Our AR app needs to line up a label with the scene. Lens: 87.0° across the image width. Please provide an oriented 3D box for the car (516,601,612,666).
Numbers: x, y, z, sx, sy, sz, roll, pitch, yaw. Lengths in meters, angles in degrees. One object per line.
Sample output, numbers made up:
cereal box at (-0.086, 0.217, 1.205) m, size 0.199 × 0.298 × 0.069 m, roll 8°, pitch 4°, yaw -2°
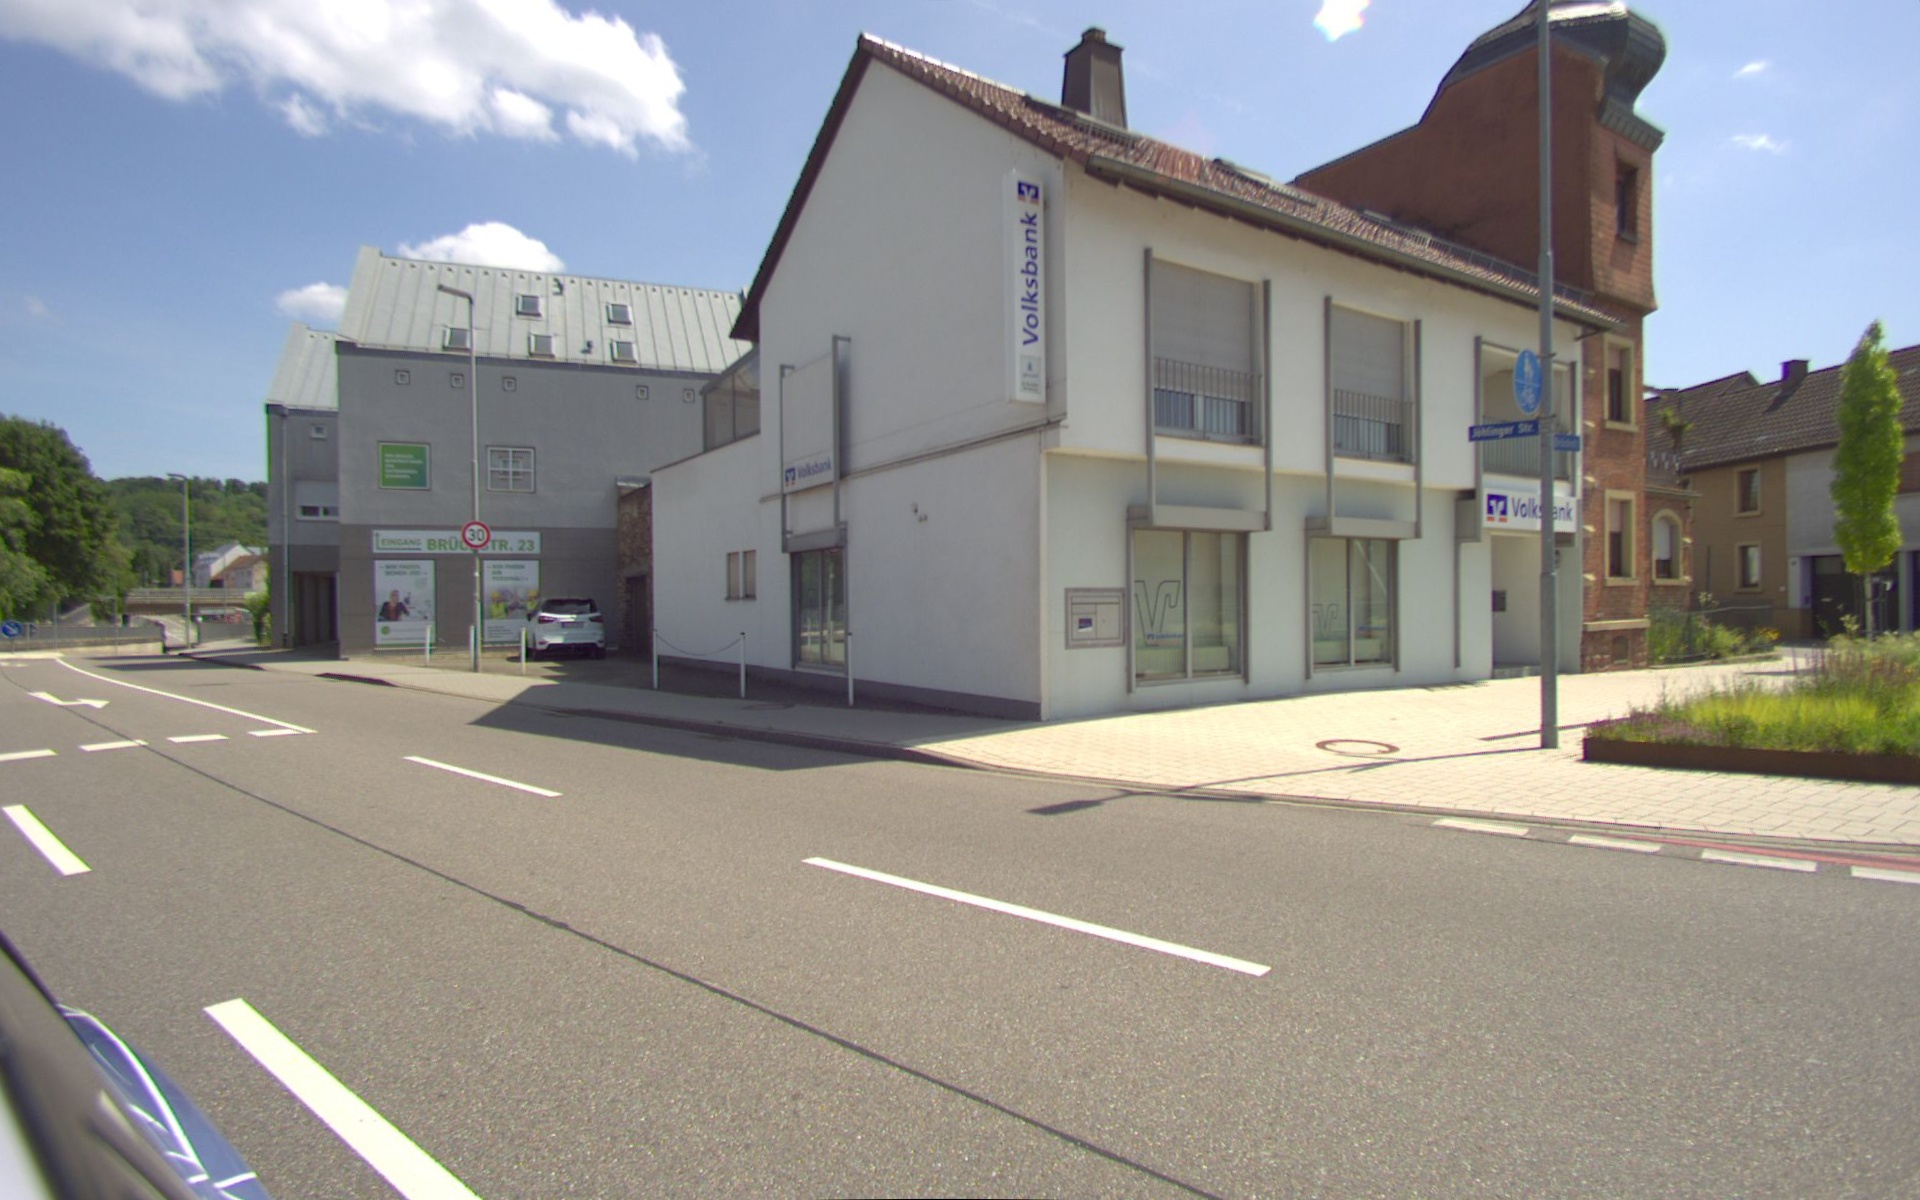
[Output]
car at (-10.674, 0.862, 27.112) m, size 1.965 × 1.587 × 4.266 m, roll 0°, pitch -1°, yaw -27°

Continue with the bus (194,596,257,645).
bus at (-65.466, 1.943, 90.416) m, size 2.771 × 4.032 × 11.001 m, roll -2°, pitch -1°, yaw -27°
